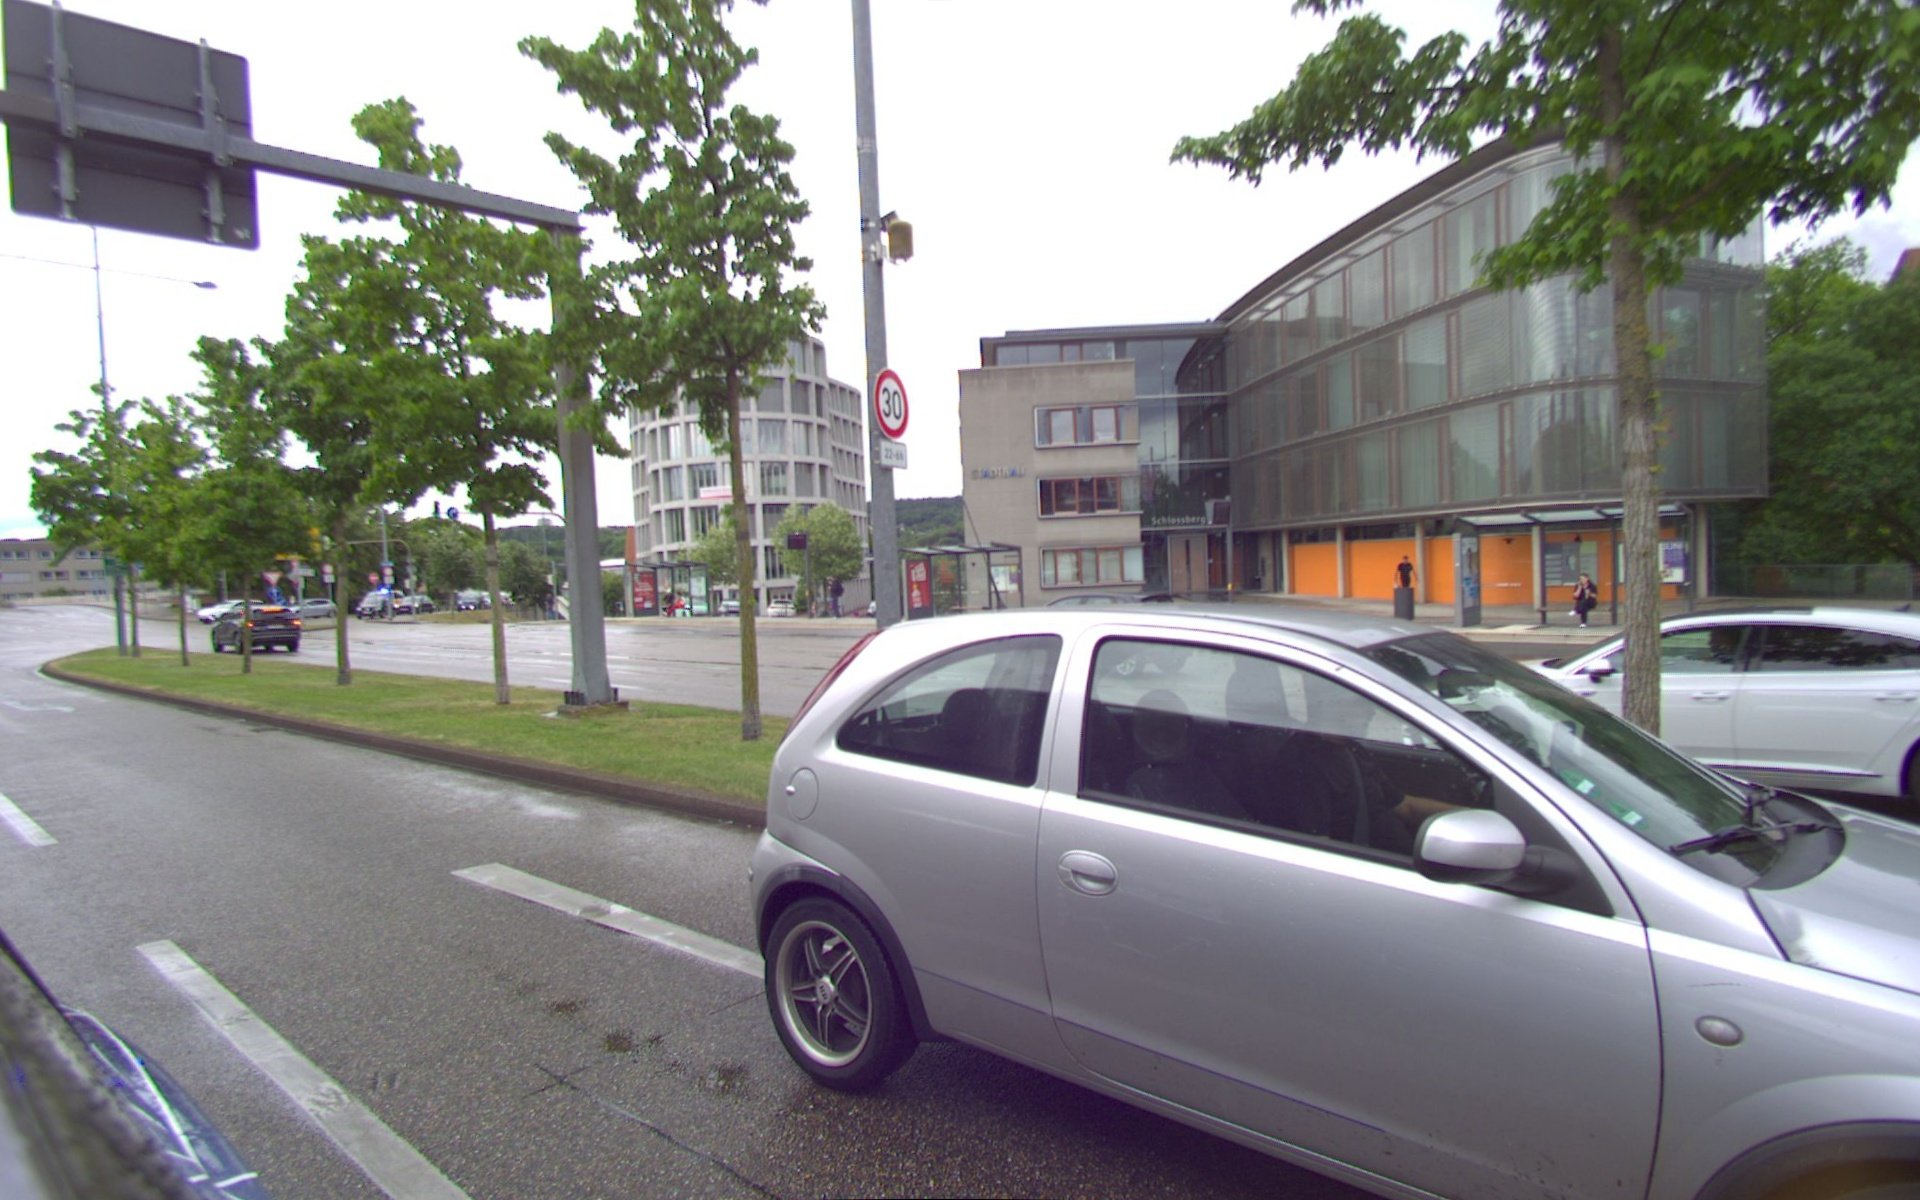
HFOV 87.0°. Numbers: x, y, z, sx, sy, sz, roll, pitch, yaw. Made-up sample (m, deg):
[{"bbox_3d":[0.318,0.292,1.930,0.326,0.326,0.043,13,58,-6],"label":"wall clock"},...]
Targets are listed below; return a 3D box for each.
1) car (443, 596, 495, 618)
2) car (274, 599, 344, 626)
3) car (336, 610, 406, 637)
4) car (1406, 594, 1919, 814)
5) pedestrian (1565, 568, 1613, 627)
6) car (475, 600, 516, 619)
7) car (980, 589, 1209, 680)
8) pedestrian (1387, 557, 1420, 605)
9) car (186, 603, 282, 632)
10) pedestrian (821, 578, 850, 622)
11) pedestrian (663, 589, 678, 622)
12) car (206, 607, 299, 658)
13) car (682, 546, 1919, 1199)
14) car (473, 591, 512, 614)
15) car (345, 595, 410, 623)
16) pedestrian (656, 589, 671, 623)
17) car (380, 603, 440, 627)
[{"bbox_3d":[-41.115,0.580,84.806,2.164,1.725,4.920,-1,0,-3],"label":"car"},{"bbox_3d":[-47.314,0.871,73.605,1.982,1.807,3.979,-1,0,16],"label":"car"},{"bbox_3d":[-40.977,1.604,70.495,2.164,1.725,4.919,-1,0,-3],"label":"car"},{"bbox_3d":[6.118,0.679,7.520,4.858,1.392,1.706,-1,-1,42],"label":"car"},{"bbox_3d":[14.601,-0.050,23.477,0.790,1.334,0.793,-1,0,42],"label":"pedestrian"},{"bbox_3d":[-47.213,0.946,103.005,2.163,1.725,4.922,-1,0,-5],"label":"car"},{"bbox_3d":[2.509,0.619,19.462,4.078,1.542,1.752,-1,0,42],"label":"car"},{"bbox_3d":[15.665,-0.661,35.778,0.697,1.666,0.852,-1,0,-6],"label":"pedestrian"},{"bbox_3d":[-48.848,1.150,68.208,2.179,1.725,4.885,-1,0,19],"label":"car"},{"bbox_3d":[-5.123,0.001,41.664,0.964,1.773,0.783,-1,0,12],"label":"pedestrian"},{"bbox_3d":[-14.564,0.293,50.901,0.535,1.647,0.514,-1,0,41],"label":"pedestrian"},{"bbox_3d":[-25.261,1.132,36.062,4.600,1.652,1.802,-1,1,43],"label":"car"},{"bbox_3d":[1.088,0.657,2.667,3.731,1.469,1.608,-1,0,38],"label":"car"},{"bbox_3d":[-43.380,0.174,93.999,1.969,2.029,4.005,-2,0,-6],"label":"car"},{"bbox_3d":[-45.241,0.663,78.750,2.276,2.029,5.038,-1,0,-3],"label":"car"},{"bbox_3d":[-14.734,0.299,50.332,0.501,1.647,0.497,-1,0,41],"label":"pedestrian"},{"bbox_3d":[-42.599,1.146,78.500,2.164,1.725,4.919,-1,0,-3],"label":"car"}]
